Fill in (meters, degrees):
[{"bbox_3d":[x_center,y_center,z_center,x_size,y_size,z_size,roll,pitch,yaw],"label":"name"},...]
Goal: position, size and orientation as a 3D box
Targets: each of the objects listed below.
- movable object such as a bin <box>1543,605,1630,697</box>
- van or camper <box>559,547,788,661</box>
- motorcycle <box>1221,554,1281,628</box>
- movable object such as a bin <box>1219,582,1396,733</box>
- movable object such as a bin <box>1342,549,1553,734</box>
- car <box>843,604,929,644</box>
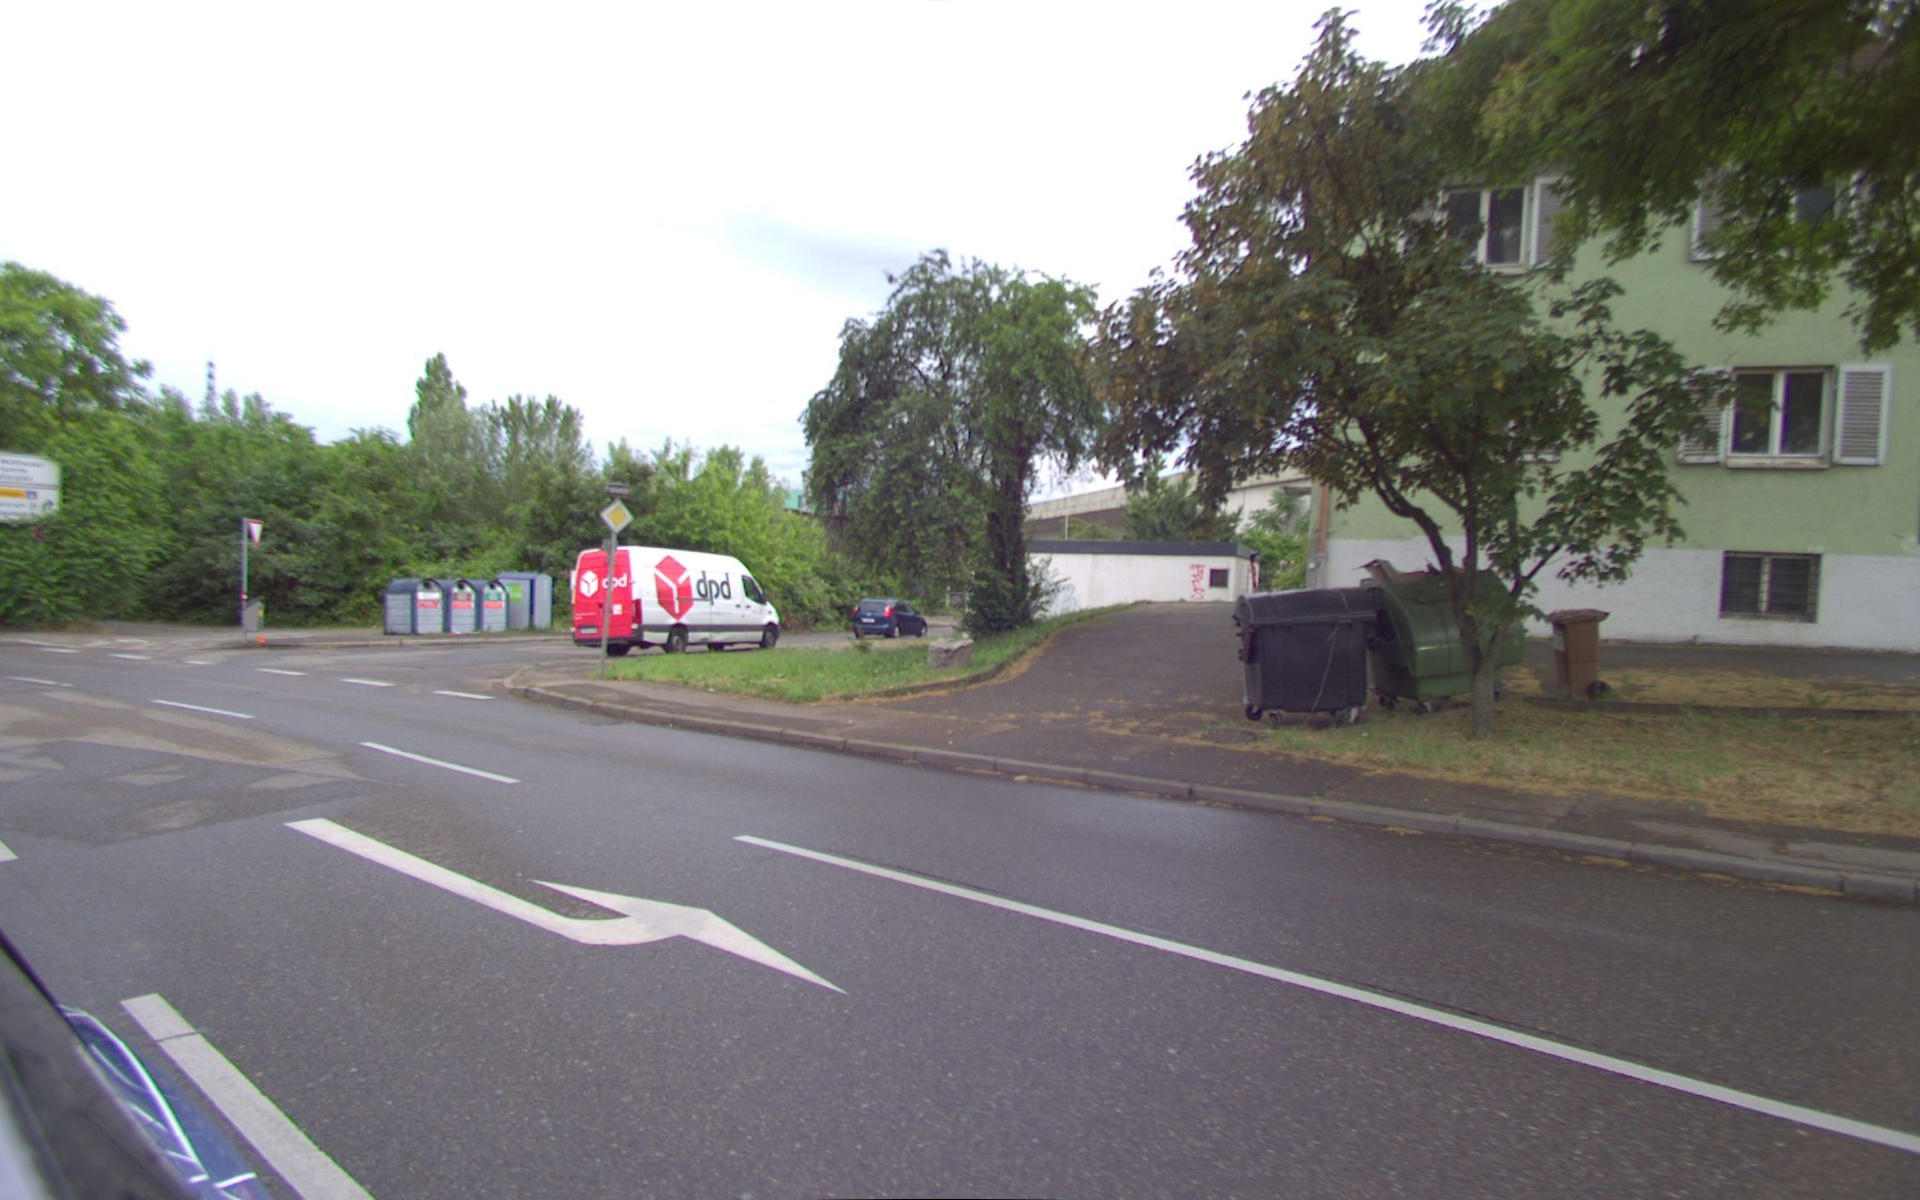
[{"bbox_3d":[6.646,0.532,10.756,0.555,0.917,0.541,-3,0,2],"label":"movable object such as a bin"},{"bbox_3d":[-7.086,0.101,26.097,2.207,2.541,6.652,0,0,20],"label":"van or camper"},{"bbox_3d":[5.084,-0.178,17.663,0.431,1.205,1.463,4,6,40],"label":"motorcycle"},{"bbox_3d":[3.674,0.581,10.904,1.359,1.452,1.471,-3,0,2],"label":"movable object such as a bin"},{"bbox_3d":[5.150,0.411,10.870,1.434,1.774,1.577,-3,0,2],"label":"movable object such as a bin"},{"bbox_3d":[-2.922,0.920,40.772,1.985,1.541,4.042,0,0,20],"label":"car"}]
